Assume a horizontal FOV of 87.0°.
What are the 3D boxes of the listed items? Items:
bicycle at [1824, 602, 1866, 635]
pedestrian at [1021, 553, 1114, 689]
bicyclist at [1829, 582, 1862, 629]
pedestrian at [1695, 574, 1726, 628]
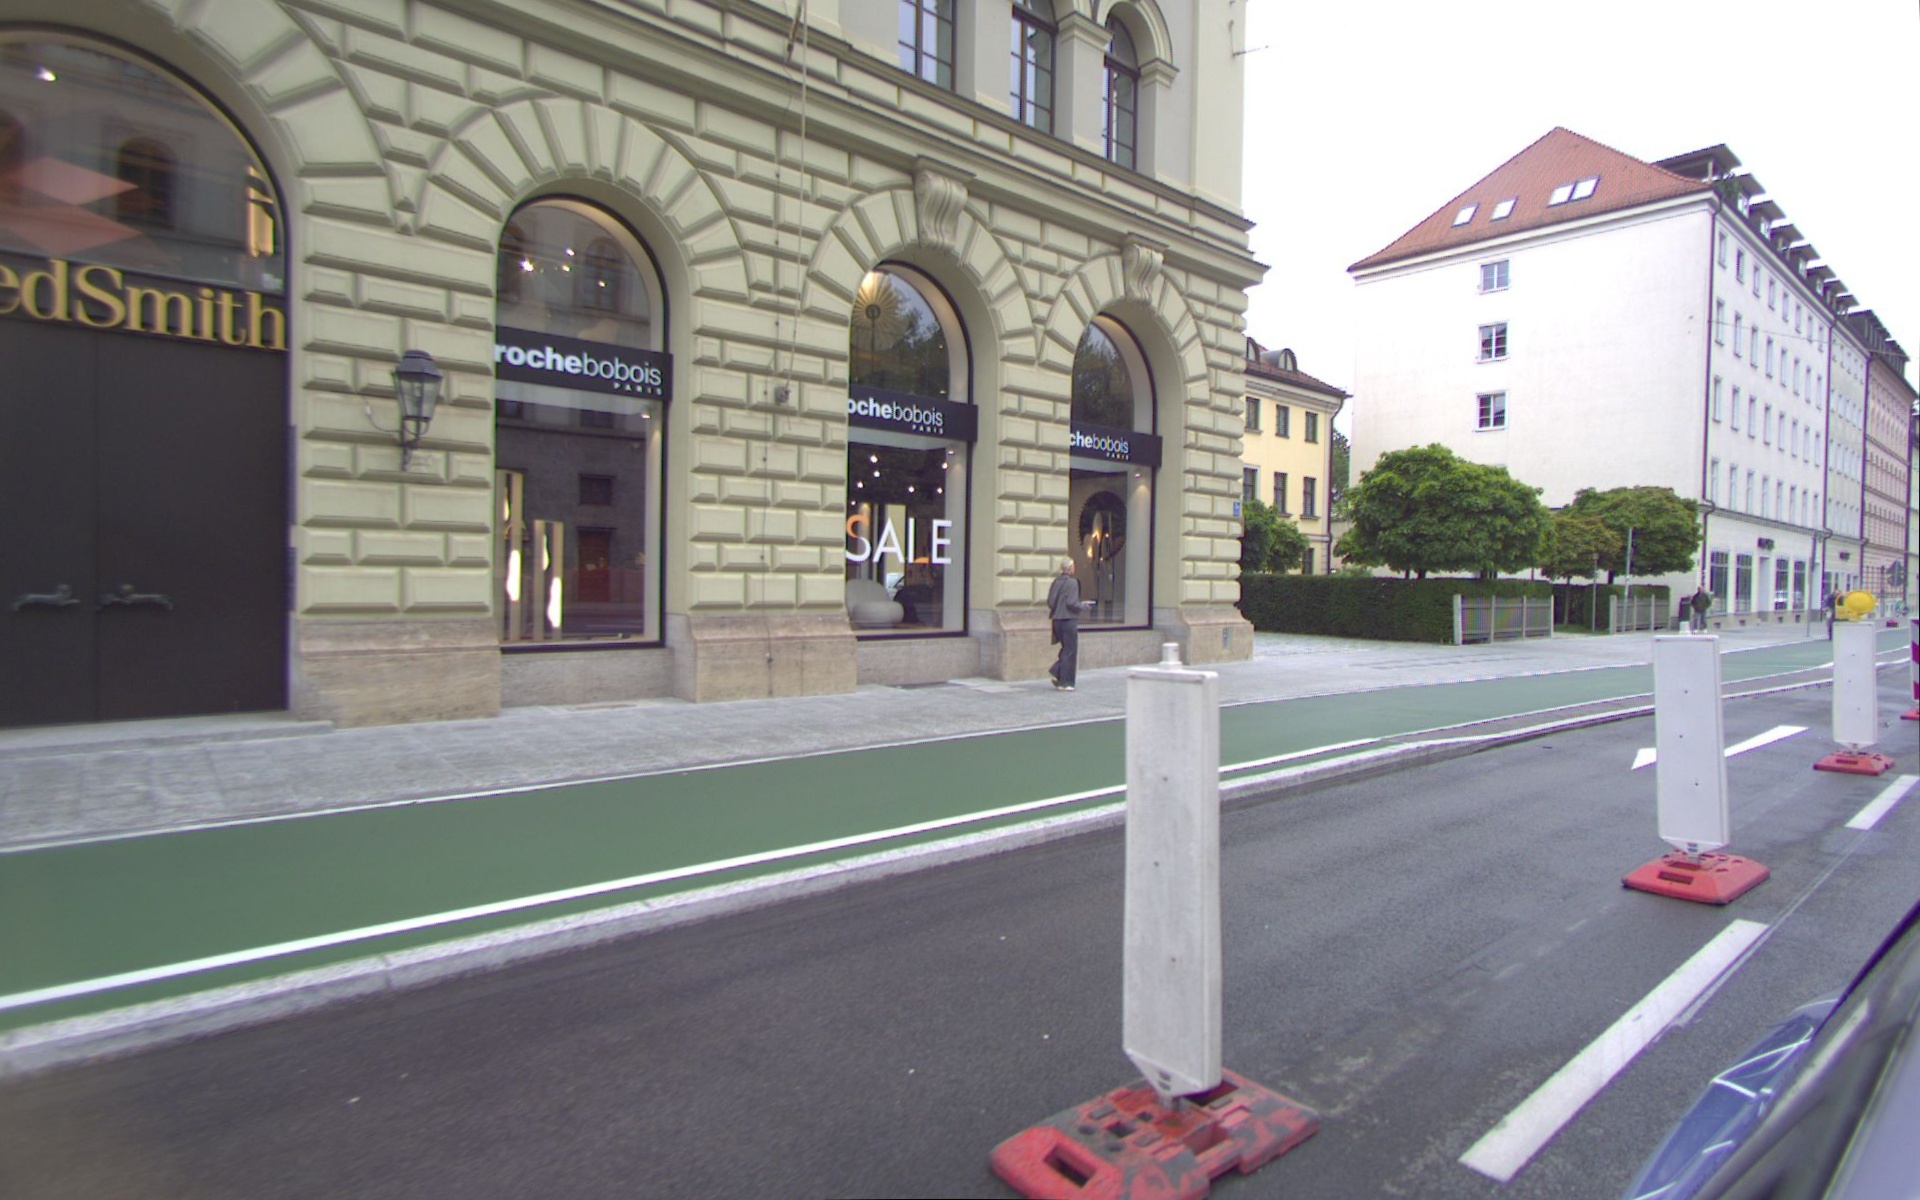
[{"bbox_3d":[29.966,0.612,34.246,2.487,1.045,0.750,0,0,-41],"label":"bicycle"},{"bbox_3d":[1.423,0.256,13.404,1.067,1.725,0.633,0,2,-41],"label":"pedestrian"},{"bbox_3d":[29.960,0.172,34.242,0.843,1.572,0.723,0,0,-41],"label":"bicyclist"},{"bbox_3d":[27.067,0.024,36.480,0.811,1.897,0.655,0,2,-41],"label":"pedestrian"}]
